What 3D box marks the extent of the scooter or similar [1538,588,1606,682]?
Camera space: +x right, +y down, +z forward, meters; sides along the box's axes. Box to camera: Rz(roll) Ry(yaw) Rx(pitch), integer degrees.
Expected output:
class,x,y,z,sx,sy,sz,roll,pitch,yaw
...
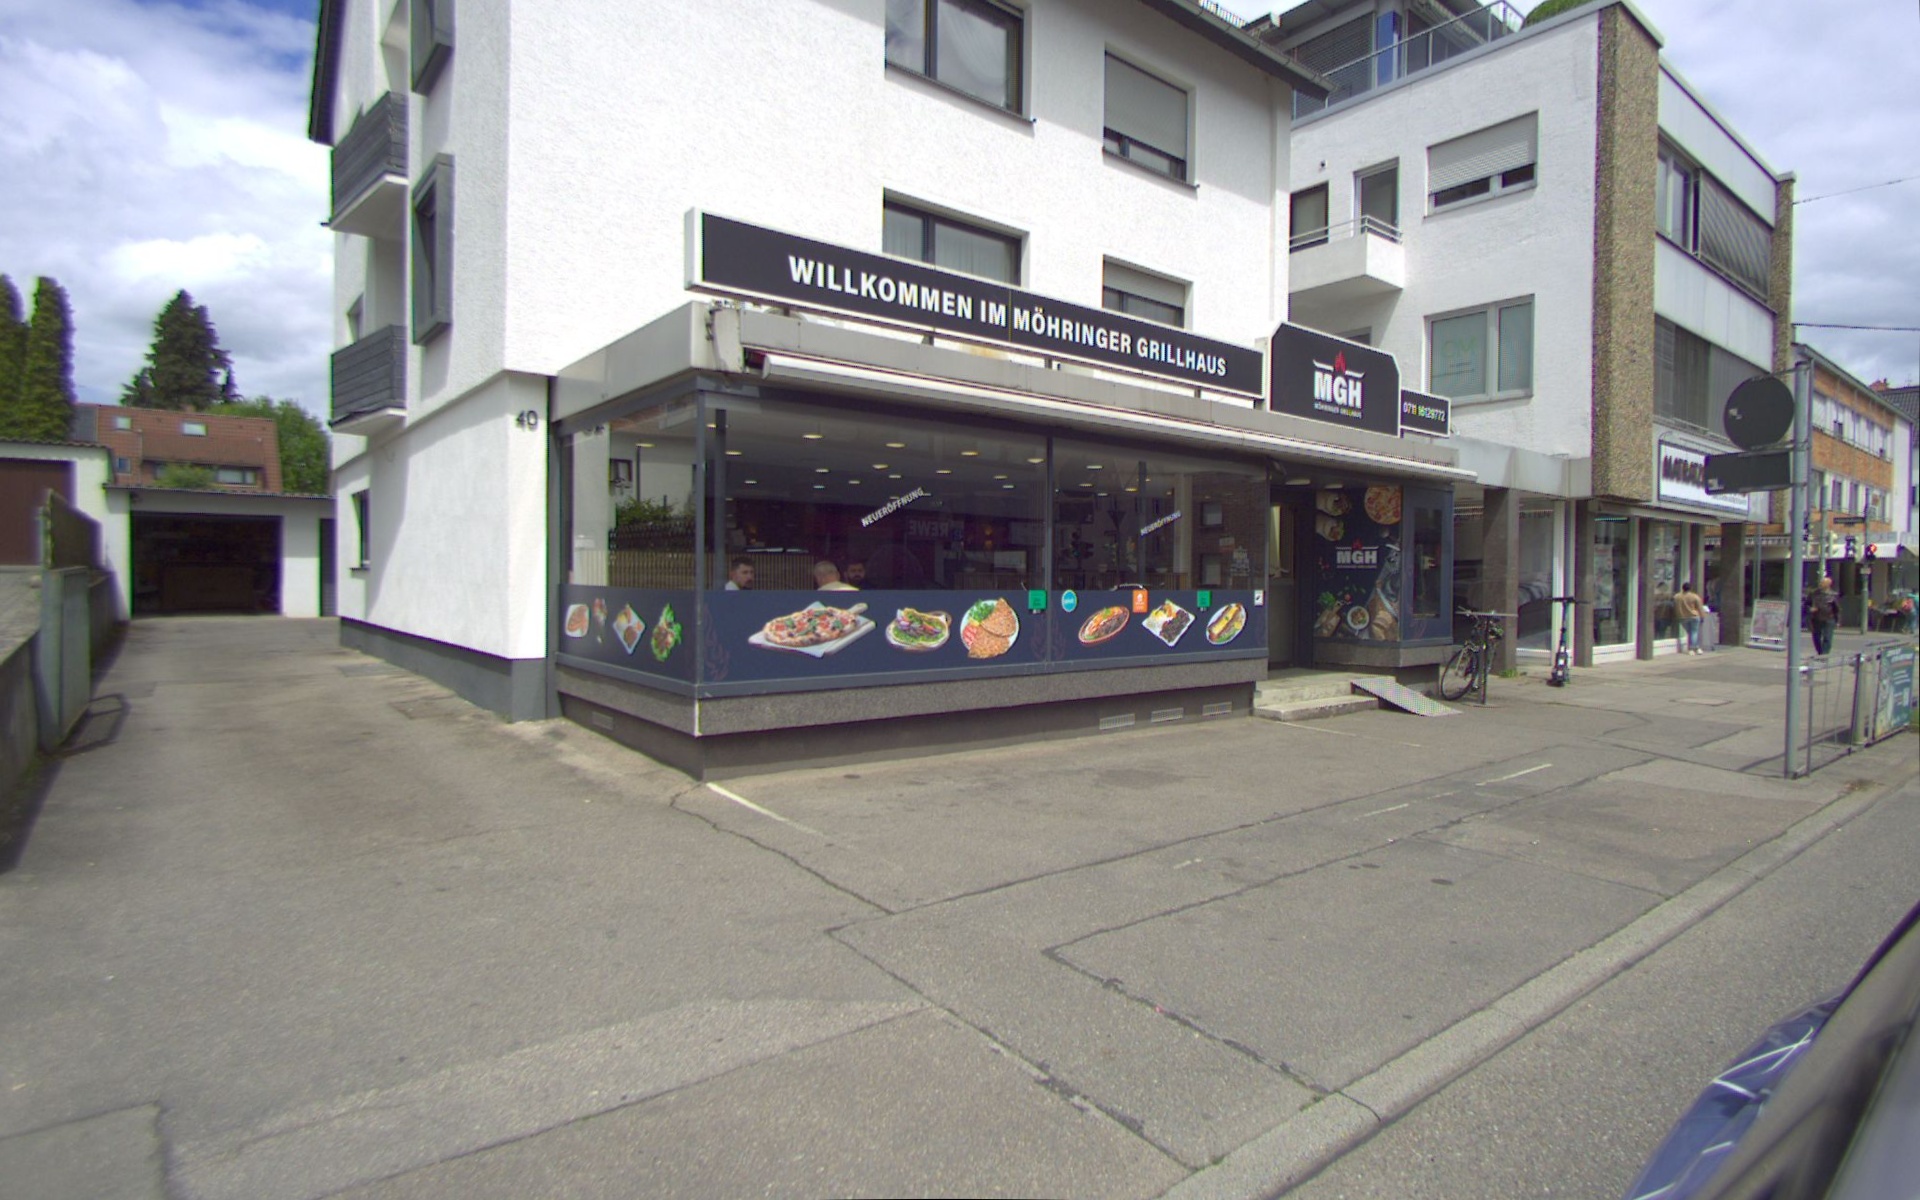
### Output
class,x,y,z,sx,sy,sz,roll,pitch,yaw
scooter or similar,8.987,0.484,14.854,0.686,1.283,1.169,2,2,39

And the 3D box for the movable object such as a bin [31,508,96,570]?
class,x,y,z,sx,sy,sz,roll,pitch,yaw
movable object such as a bin,-16.499,-1.107,18.651,0.848,1.093,1.280,0,2,-40

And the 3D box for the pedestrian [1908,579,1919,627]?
class,x,y,z,sx,sy,sz,roll,pitch,yaw
pedestrian,31.725,0.102,33.166,0.804,1.544,0.780,0,2,-37

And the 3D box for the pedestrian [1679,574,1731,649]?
class,x,y,z,sx,sy,sz,roll,pitch,yaw
pedestrian,15.542,0.219,21.113,0.707,1.517,0.681,0,2,-39

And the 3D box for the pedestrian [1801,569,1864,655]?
class,x,y,z,sx,sy,sz,roll,pitch,yaw
pedestrian,17.733,0.225,20.579,0.793,1.691,0.797,0,2,-39

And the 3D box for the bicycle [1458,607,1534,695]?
class,x,y,z,sx,sy,sz,roll,pitch,yaw
bicycle,6.961,0.628,13.114,0.474,1.040,1.611,2,2,42
